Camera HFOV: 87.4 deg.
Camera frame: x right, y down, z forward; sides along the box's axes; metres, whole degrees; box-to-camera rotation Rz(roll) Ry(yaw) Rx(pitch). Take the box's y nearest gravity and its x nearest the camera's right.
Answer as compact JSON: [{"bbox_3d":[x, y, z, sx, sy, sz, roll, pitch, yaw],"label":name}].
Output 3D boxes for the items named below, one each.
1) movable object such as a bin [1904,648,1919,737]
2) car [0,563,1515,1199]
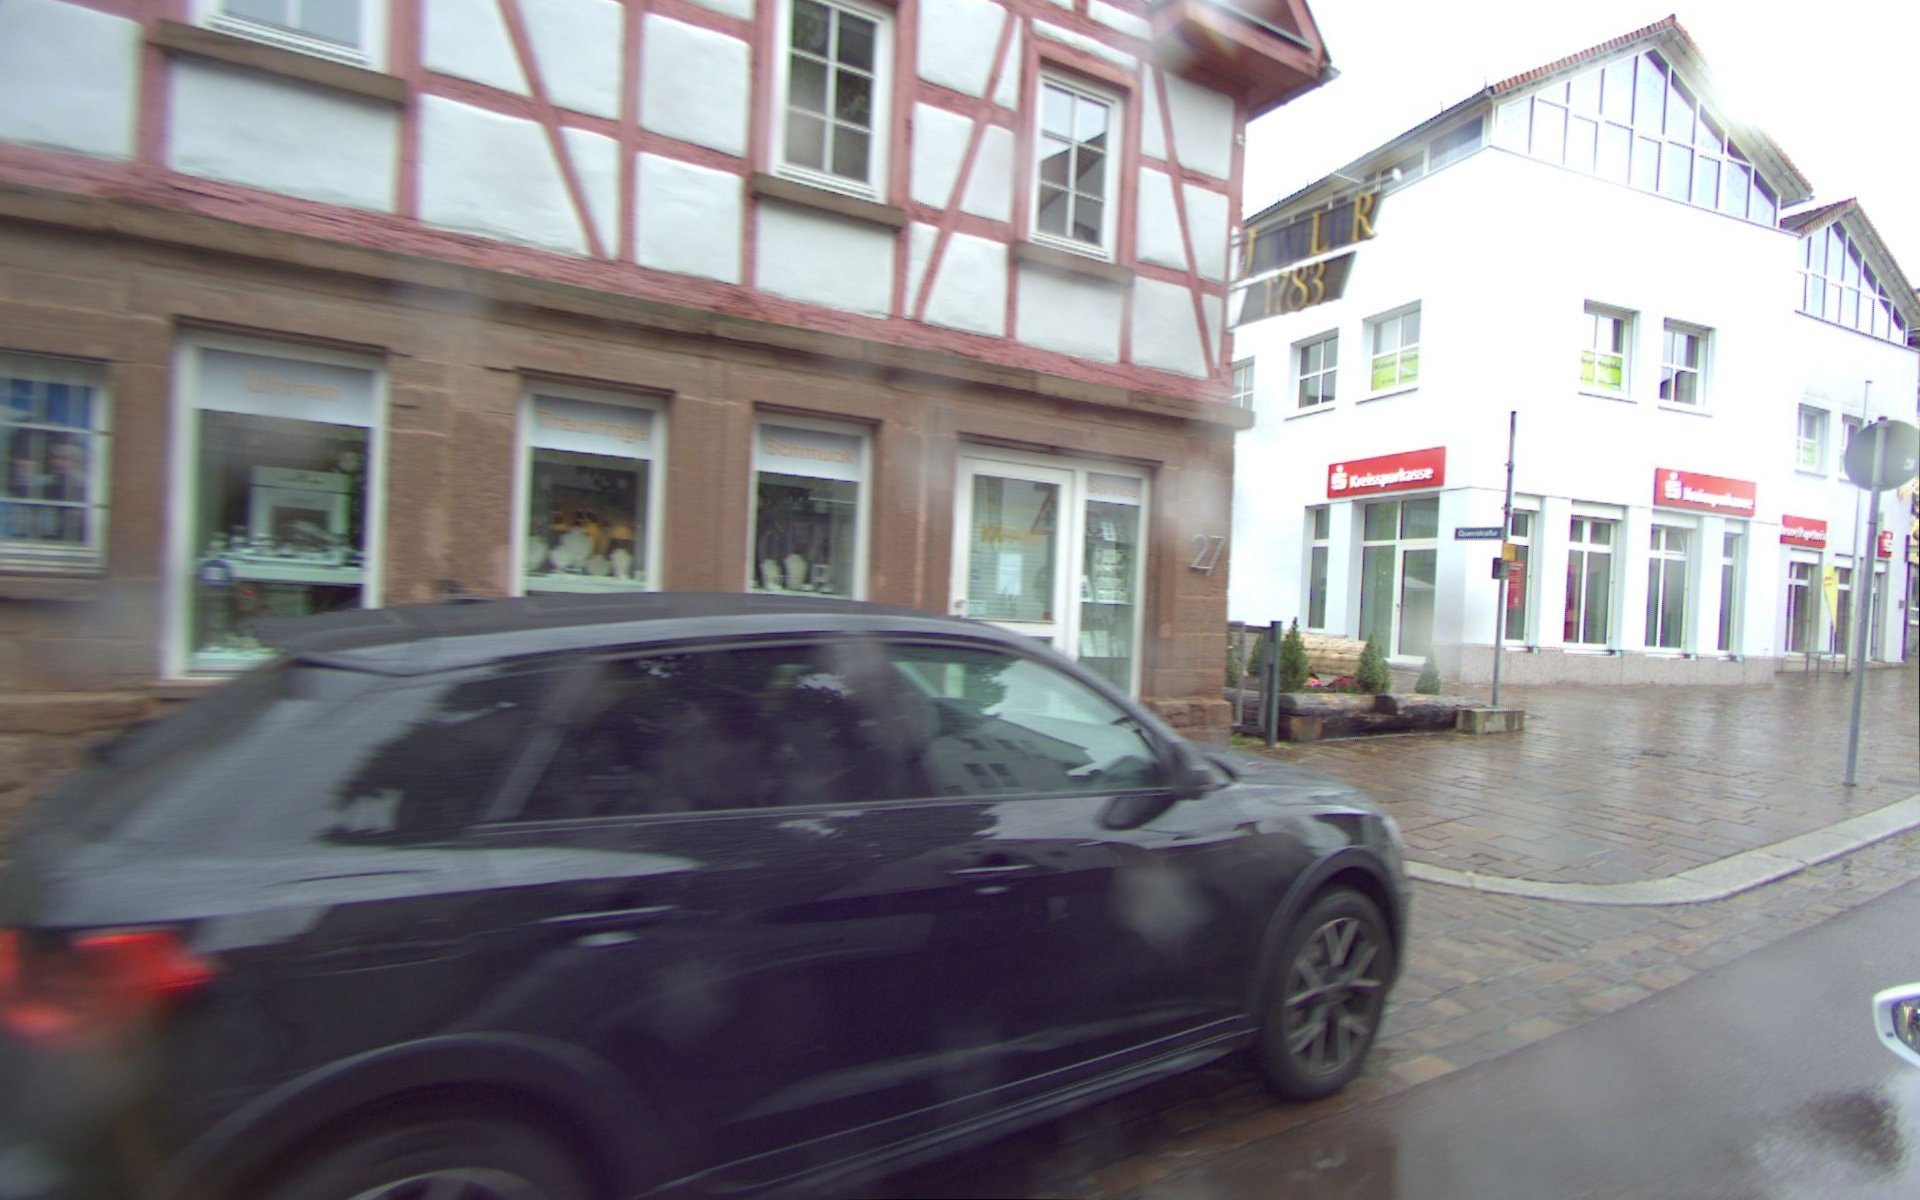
[{"bbox_3d":[12.111,1.151,12.196,0.693,1.064,0.812,3,-1,-37],"label":"movable object such as a bin"},{"bbox_3d":[-0.232,0.739,3.210,3.961,1.514,1.980,2,2,-36],"label":"car"}]
